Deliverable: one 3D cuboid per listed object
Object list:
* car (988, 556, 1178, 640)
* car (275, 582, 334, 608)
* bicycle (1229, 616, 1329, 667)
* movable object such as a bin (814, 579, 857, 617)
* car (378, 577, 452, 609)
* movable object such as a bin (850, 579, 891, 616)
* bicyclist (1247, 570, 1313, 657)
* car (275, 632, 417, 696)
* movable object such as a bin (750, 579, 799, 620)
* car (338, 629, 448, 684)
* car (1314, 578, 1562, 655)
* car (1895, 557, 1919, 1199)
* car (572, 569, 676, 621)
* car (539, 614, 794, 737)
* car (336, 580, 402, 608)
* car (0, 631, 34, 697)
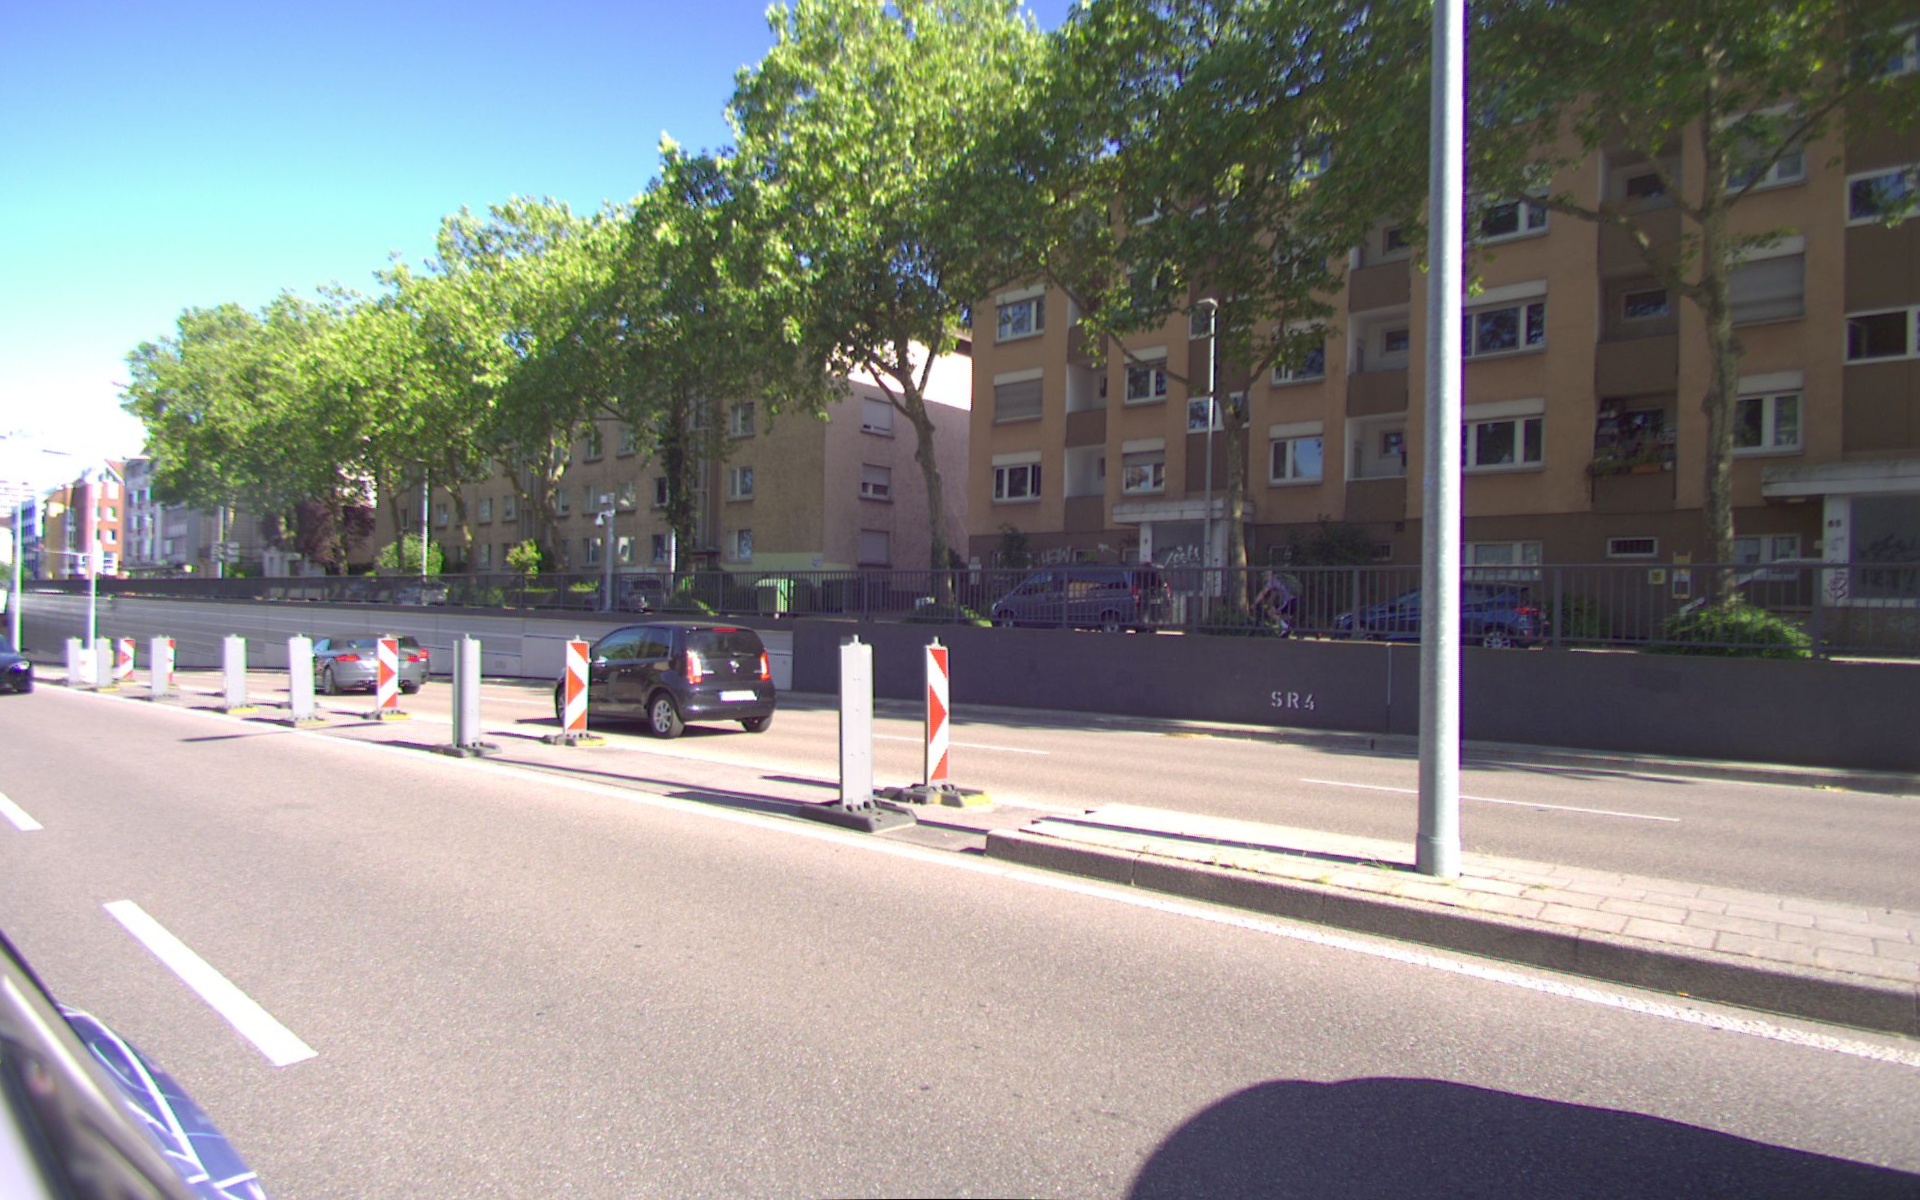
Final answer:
[{"bbox_3d":[3.090,-0.046,25.954,4.522,1.975,1.946,0,0,39],"label":"car"},{"bbox_3d":[-42.008,-0.301,64.825,4.299,1.596,1.902,0,0,39],"label":"car"},{"bbox_3d":[6.227,0.799,19.817,1.755,0.934,0.650,0,0,38],"label":"bicycle"},{"bbox_3d":[-5.012,-0.077,40.852,1.146,1.495,1.301,0,0,38],"label":"movable object such as a bin"},{"bbox_3d":[-28.603,-0.353,53.042,4.299,1.596,1.902,0,0,39],"label":"car"},{"bbox_3d":[-3.717,-0.112,42.037,1.146,1.495,1.301,0,0,38],"label":"movable object such as a bin"},{"bbox_3d":[6.260,0.254,19.808,1.021,1.645,0.767,0,0,37],"label":"bicyclist"},{"bbox_3d":[-13.870,1.424,22.799,3.924,1.310,1.523,-2,-5,40],"label":"car"},{"bbox_3d":[-6.923,-0.036,37.746,1.354,1.495,1.196,0,0,33],"label":"movable object such as a bin"},{"bbox_3d":[-16.366,1.601,29.161,3.714,1.476,1.523,-1,-4,40],"label":"car"},{"bbox_3d":[9.581,0.290,20.441,4.170,1.399,1.973,0,0,41],"label":"car"},{"bbox_3d":[3.303,0.620,0.635,3.885,1.429,1.678,0,0,40],"label":"car"},{"bbox_3d":[-13.452,-0.199,40.378,4.411,1.975,1.945,0,0,41],"label":"car"},{"bbox_3d":[-4.082,0.994,13.843,3.605,1.469,1.592,-2,-5,40],"label":"car"},{"bbox_3d":[-34.369,-0.338,58.842,4.299,1.596,1.902,0,0,39],"label":"car"},{"bbox_3d":[-22.861,1.479,23.186,3.997,1.426,1.973,-2,-1,41],"label":"car"}]
